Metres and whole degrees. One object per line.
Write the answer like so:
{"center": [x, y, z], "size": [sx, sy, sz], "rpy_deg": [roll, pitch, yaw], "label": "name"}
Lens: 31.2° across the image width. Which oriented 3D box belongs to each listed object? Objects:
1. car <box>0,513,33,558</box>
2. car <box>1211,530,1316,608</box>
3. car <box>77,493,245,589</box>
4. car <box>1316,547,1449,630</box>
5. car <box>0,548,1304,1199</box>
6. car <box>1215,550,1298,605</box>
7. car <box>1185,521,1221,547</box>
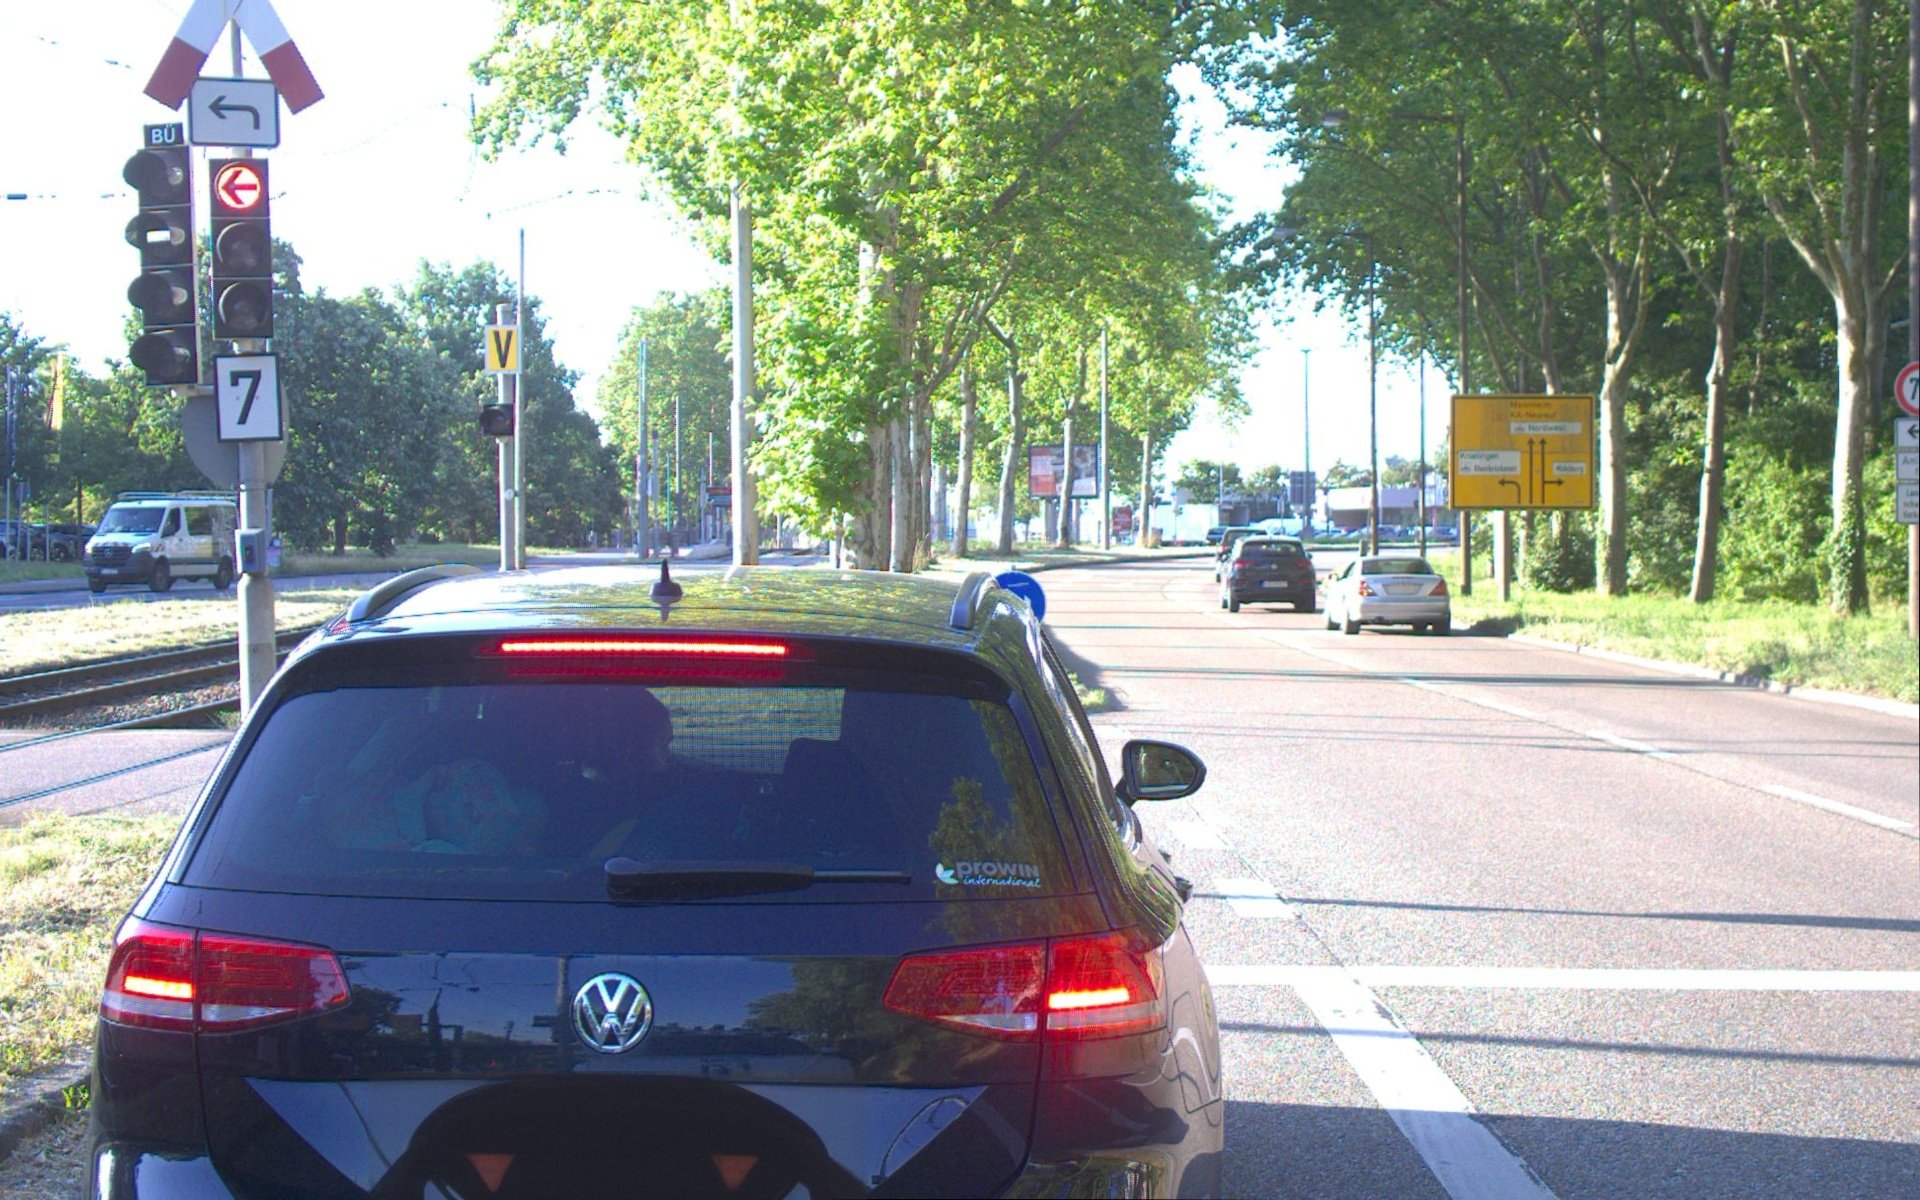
{"center": [-35.916, -2.368, 125.002], "size": [3.986, 1.615, 1.744], "rpy_deg": [1, 1, -5], "label": "car"}
{"center": [6.214, -0.653, 70.818], "size": [1.707, 1.555, 4.166], "rpy_deg": [0, 1, -1], "label": "car"}
{"center": [-21.268, -1.592, 91.774], "size": [2.096, 2.453, 5.850], "rpy_deg": [1, 1, 11], "label": "car"}
{"center": [6.971, -0.217, 57.053], "size": [1.609, 1.290, 3.983], "rpy_deg": [1, 1, -1], "label": "car"}
{"center": [-0.477, 0.649, 6.412], "size": [1.795, 1.459, 3.583], "rpy_deg": [1, 1, -1], "label": "car"}
{"center": [8.896, -0.687, 102.894], "size": [1.873, 1.629, 4.367], "rpy_deg": [0, 1, 13], "label": "car"}
{"center": [13.813, -3.737, 195.017], "size": [1.994, 1.415, 4.000], "rpy_deg": [1, 1, 4], "label": "car"}
